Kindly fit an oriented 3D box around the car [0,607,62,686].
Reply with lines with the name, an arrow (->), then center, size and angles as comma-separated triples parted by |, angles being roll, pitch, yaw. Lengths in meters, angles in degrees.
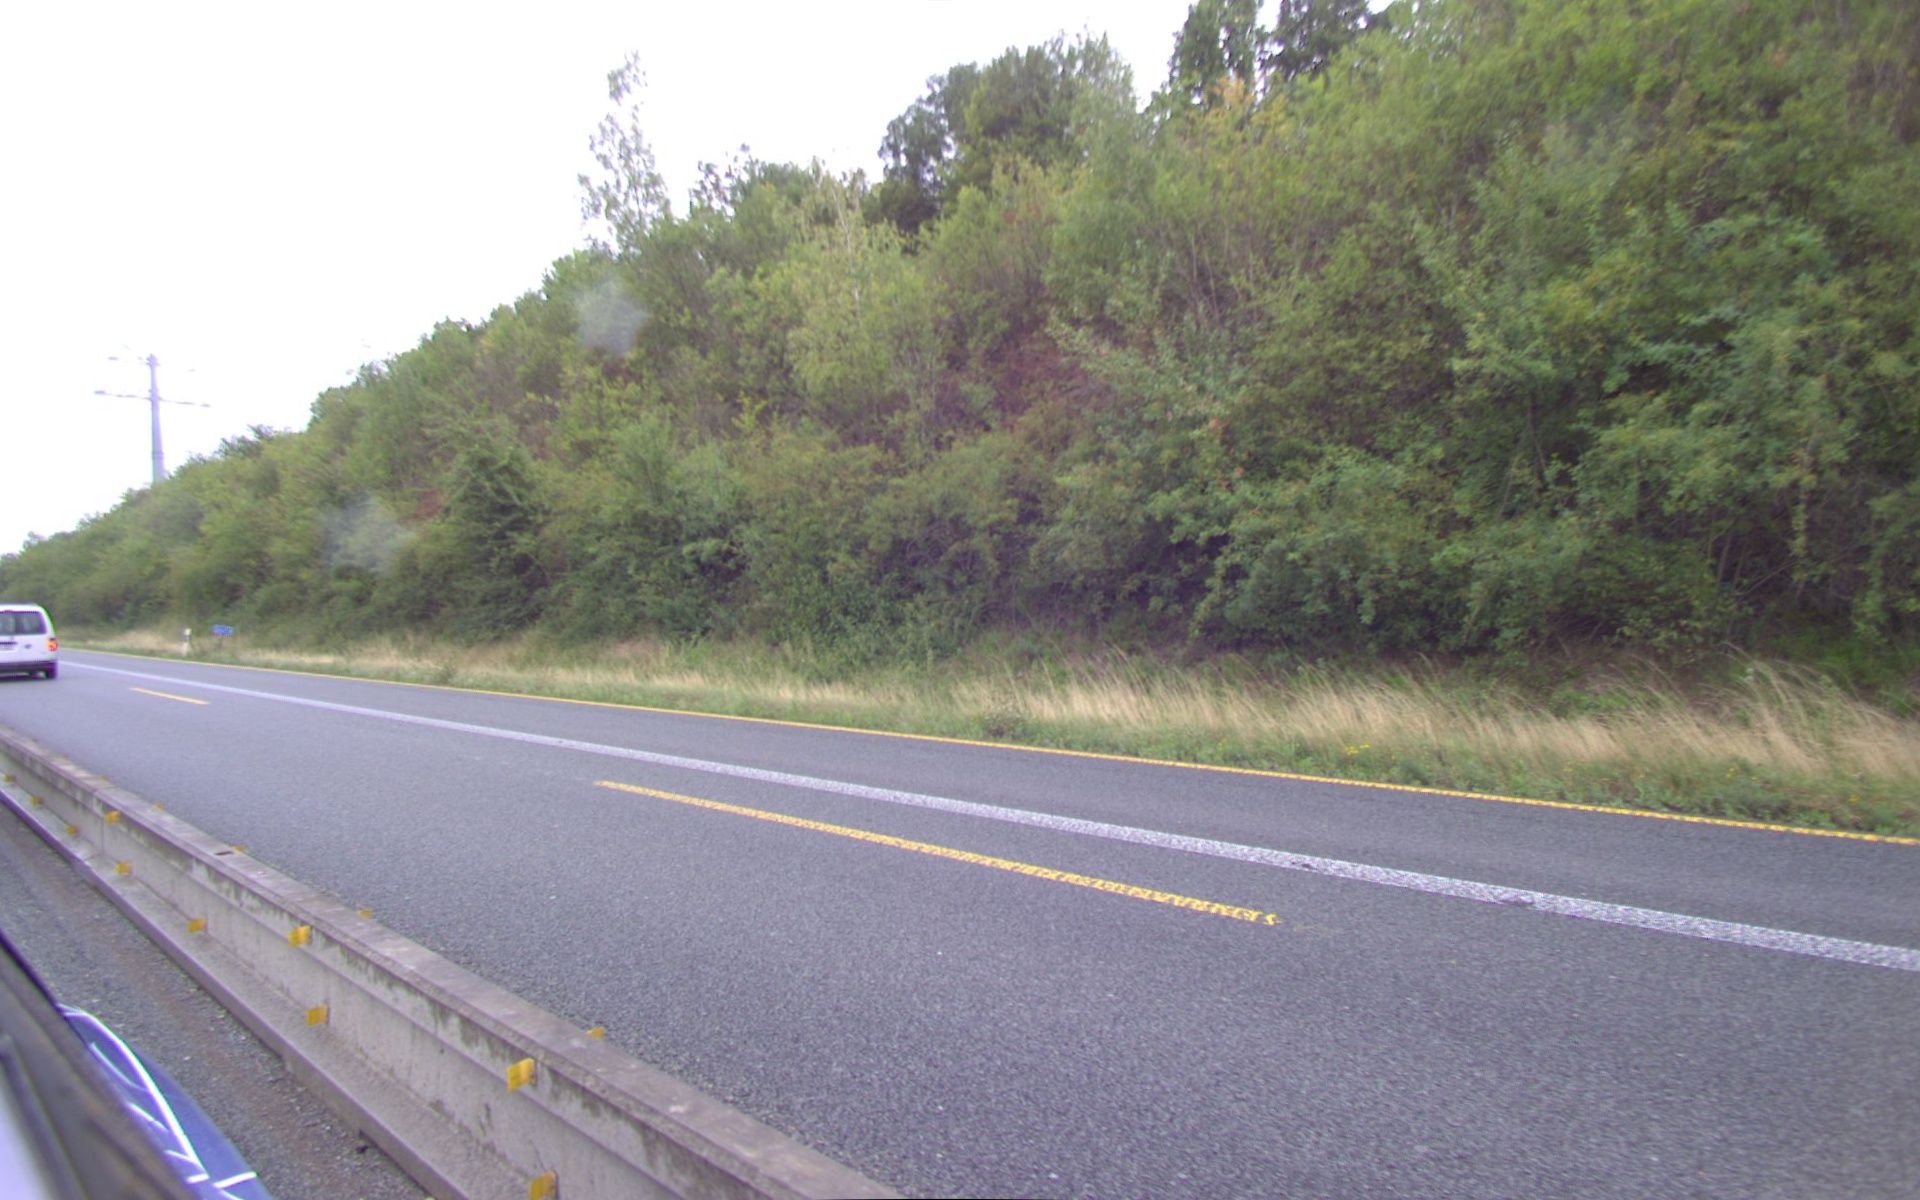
car -> -23.961, 1.109, 25.131 | 4.631, 1.837, 1.792 | -1, 0, 40
